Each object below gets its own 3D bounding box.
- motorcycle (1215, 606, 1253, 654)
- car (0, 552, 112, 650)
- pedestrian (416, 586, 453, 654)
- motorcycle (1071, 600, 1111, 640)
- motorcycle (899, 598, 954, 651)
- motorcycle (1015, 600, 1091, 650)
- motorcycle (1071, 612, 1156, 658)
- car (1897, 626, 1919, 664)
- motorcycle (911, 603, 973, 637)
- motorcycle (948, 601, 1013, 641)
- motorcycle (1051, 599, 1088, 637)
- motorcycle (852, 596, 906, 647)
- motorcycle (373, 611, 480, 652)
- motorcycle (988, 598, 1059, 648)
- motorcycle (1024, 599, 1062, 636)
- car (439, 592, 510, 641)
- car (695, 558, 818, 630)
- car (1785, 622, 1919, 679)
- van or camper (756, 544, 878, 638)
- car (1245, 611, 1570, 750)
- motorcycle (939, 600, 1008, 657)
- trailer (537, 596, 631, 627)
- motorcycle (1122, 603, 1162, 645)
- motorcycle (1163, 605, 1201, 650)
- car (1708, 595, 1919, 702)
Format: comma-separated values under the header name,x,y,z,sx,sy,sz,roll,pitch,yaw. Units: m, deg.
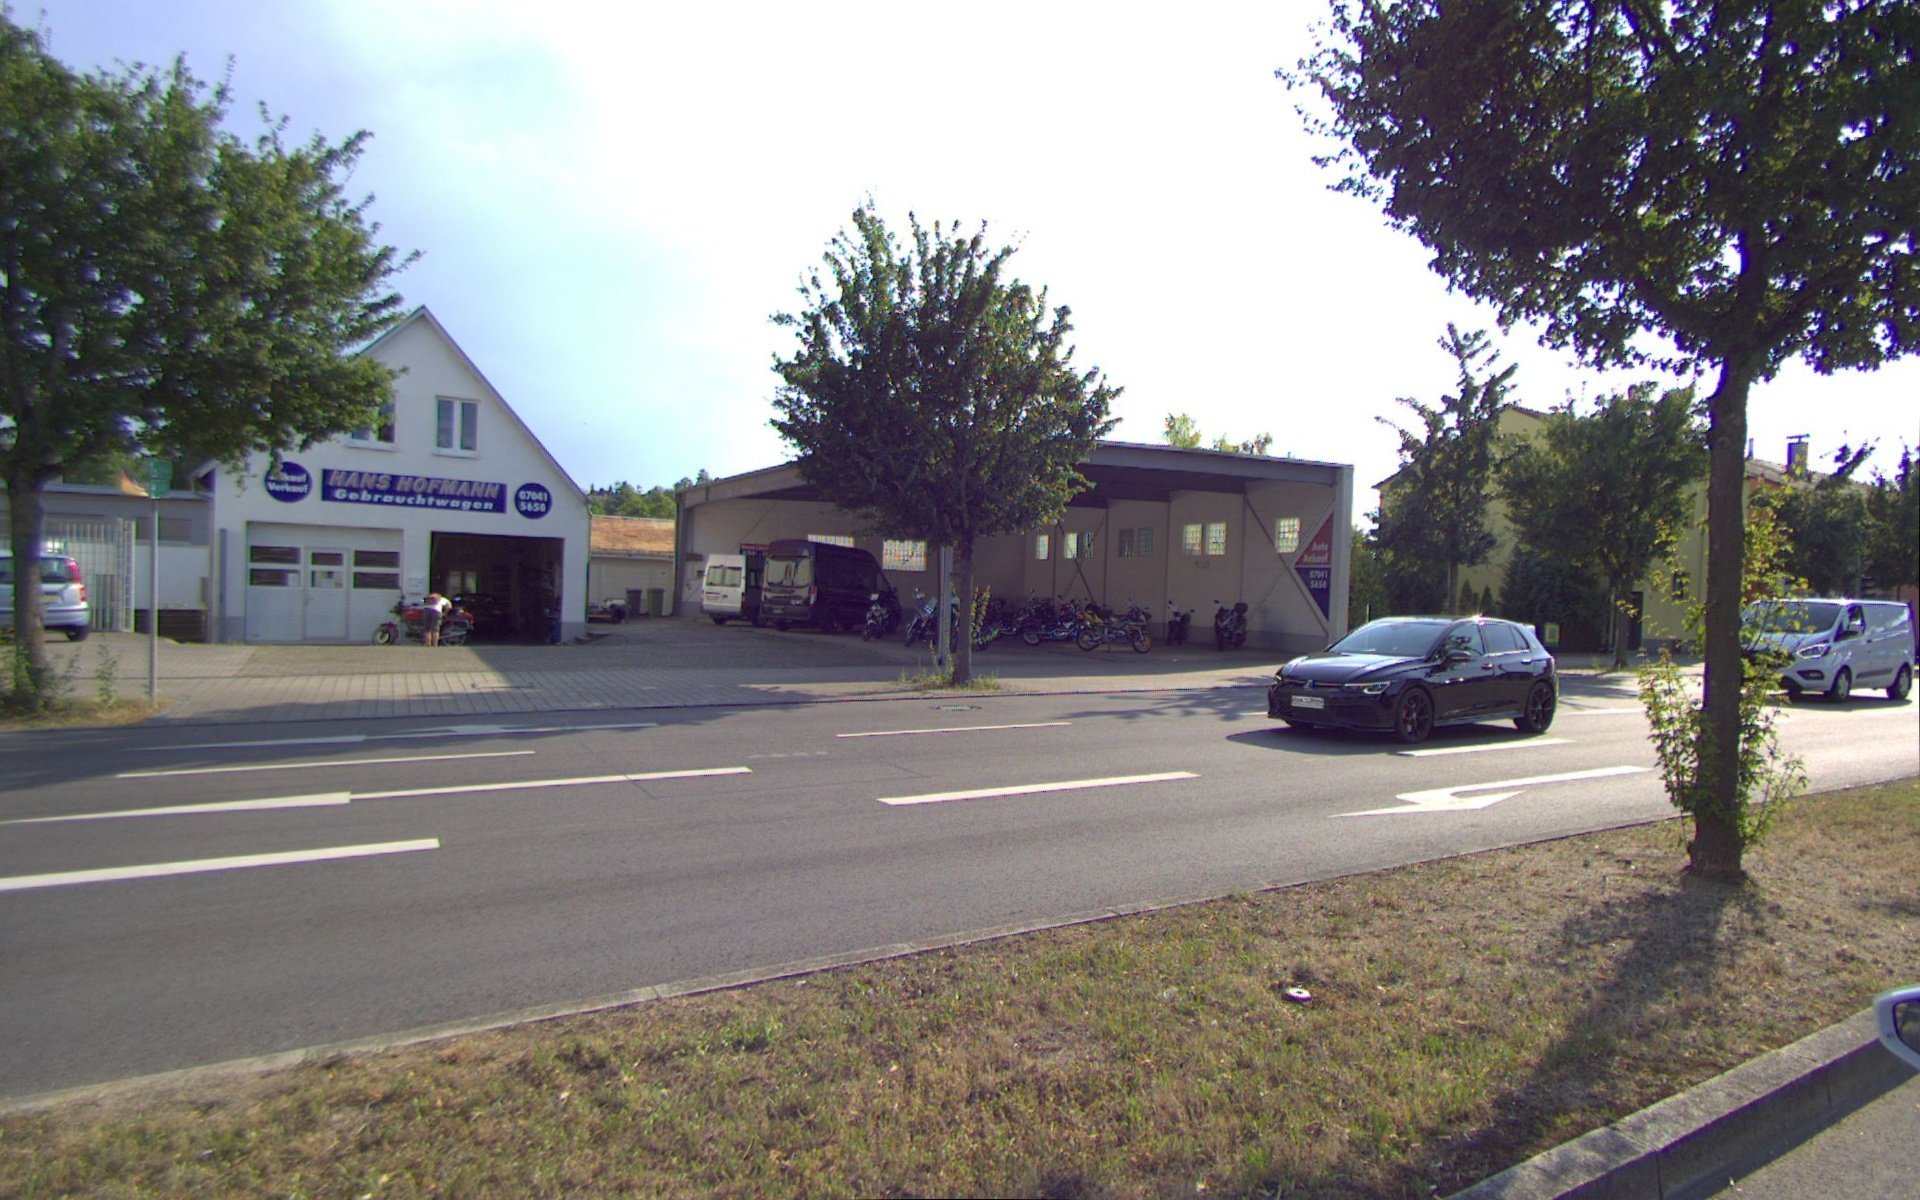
name,x,y,z,sx,sy,sz,roll,pitch,yaw
motorcycle,7.893,0.850,28.877,0.553,1.325,2.112,1,0,29
car,-16.891,-0.022,17.615,3.927,1.572,1.765,1,0,29
pedestrian,-12.133,0.463,23.214,0.664,1.543,0.650,1,0,-23
motorcycle,4.481,0.678,34.199,0.573,1.325,2.086,1,0,29
motorcycle,-0.861,0.634,26.314,0.637,1.329,2.007,1,0,22
motorcycle,2.647,0.714,28.686,2.112,1.347,0.563,1,0,0
motorcycle,4.061,0.925,26.653,2.112,1.139,0.631,1,0,0
car,42.194,1.974,42.965,3.950,1.573,1.835,2,2,-28
motorcycle,-0.629,0.691,35.390,2.112,1.138,0.563,1,0,0
motorcycle,0.666,0.682,33.135,2.112,1.275,0.647,1,0,0
motorcycle,4.000,0.659,36.484,0.553,1.325,2.086,1,0,29
motorcycle,-2.237,0.586,27.916,0.637,1.329,2.007,1,0,22
motorcycle,-12.549,0.756,23.678,2.183,0.932,0.504,2,0,-28
motorcycle,1.935,0.699,30.869,2.112,1.468,0.594,1,0,0
motorcycle,3.124,0.650,37.585,0.553,1.325,2.086,1,0,29
car,-15.226,0.473,31.403,1.863,1.403,4.054,1,0,-28
car,-6.854,-0.186,34.280,2.157,2.279,4.386,1,0,19
car,26.535,1.471,29.829,4.196,1.517,1.798,2,0,-31
van or camper,-4.408,-0.251,31.846,1.960,2.716,5.040,1,0,15
car,5.691,0.924,12.669,4.062,1.470,1.760,2,0,-32
motorcycle,0.351,0.685,24.745,0.659,1.329,2.001,2,0,36
trailer,-13.004,0.390,34.661,2.426,0.836,3.163,2,2,-33
motorcycle,6.007,0.779,33.043,0.612,1.325,2.086,1,0,29
motorcycle,6.823,0.827,30.802,0.553,1.325,2.086,1,0,29
car,17.330,0.938,20.325,4.888,1.949,1.813,2,0,-31
